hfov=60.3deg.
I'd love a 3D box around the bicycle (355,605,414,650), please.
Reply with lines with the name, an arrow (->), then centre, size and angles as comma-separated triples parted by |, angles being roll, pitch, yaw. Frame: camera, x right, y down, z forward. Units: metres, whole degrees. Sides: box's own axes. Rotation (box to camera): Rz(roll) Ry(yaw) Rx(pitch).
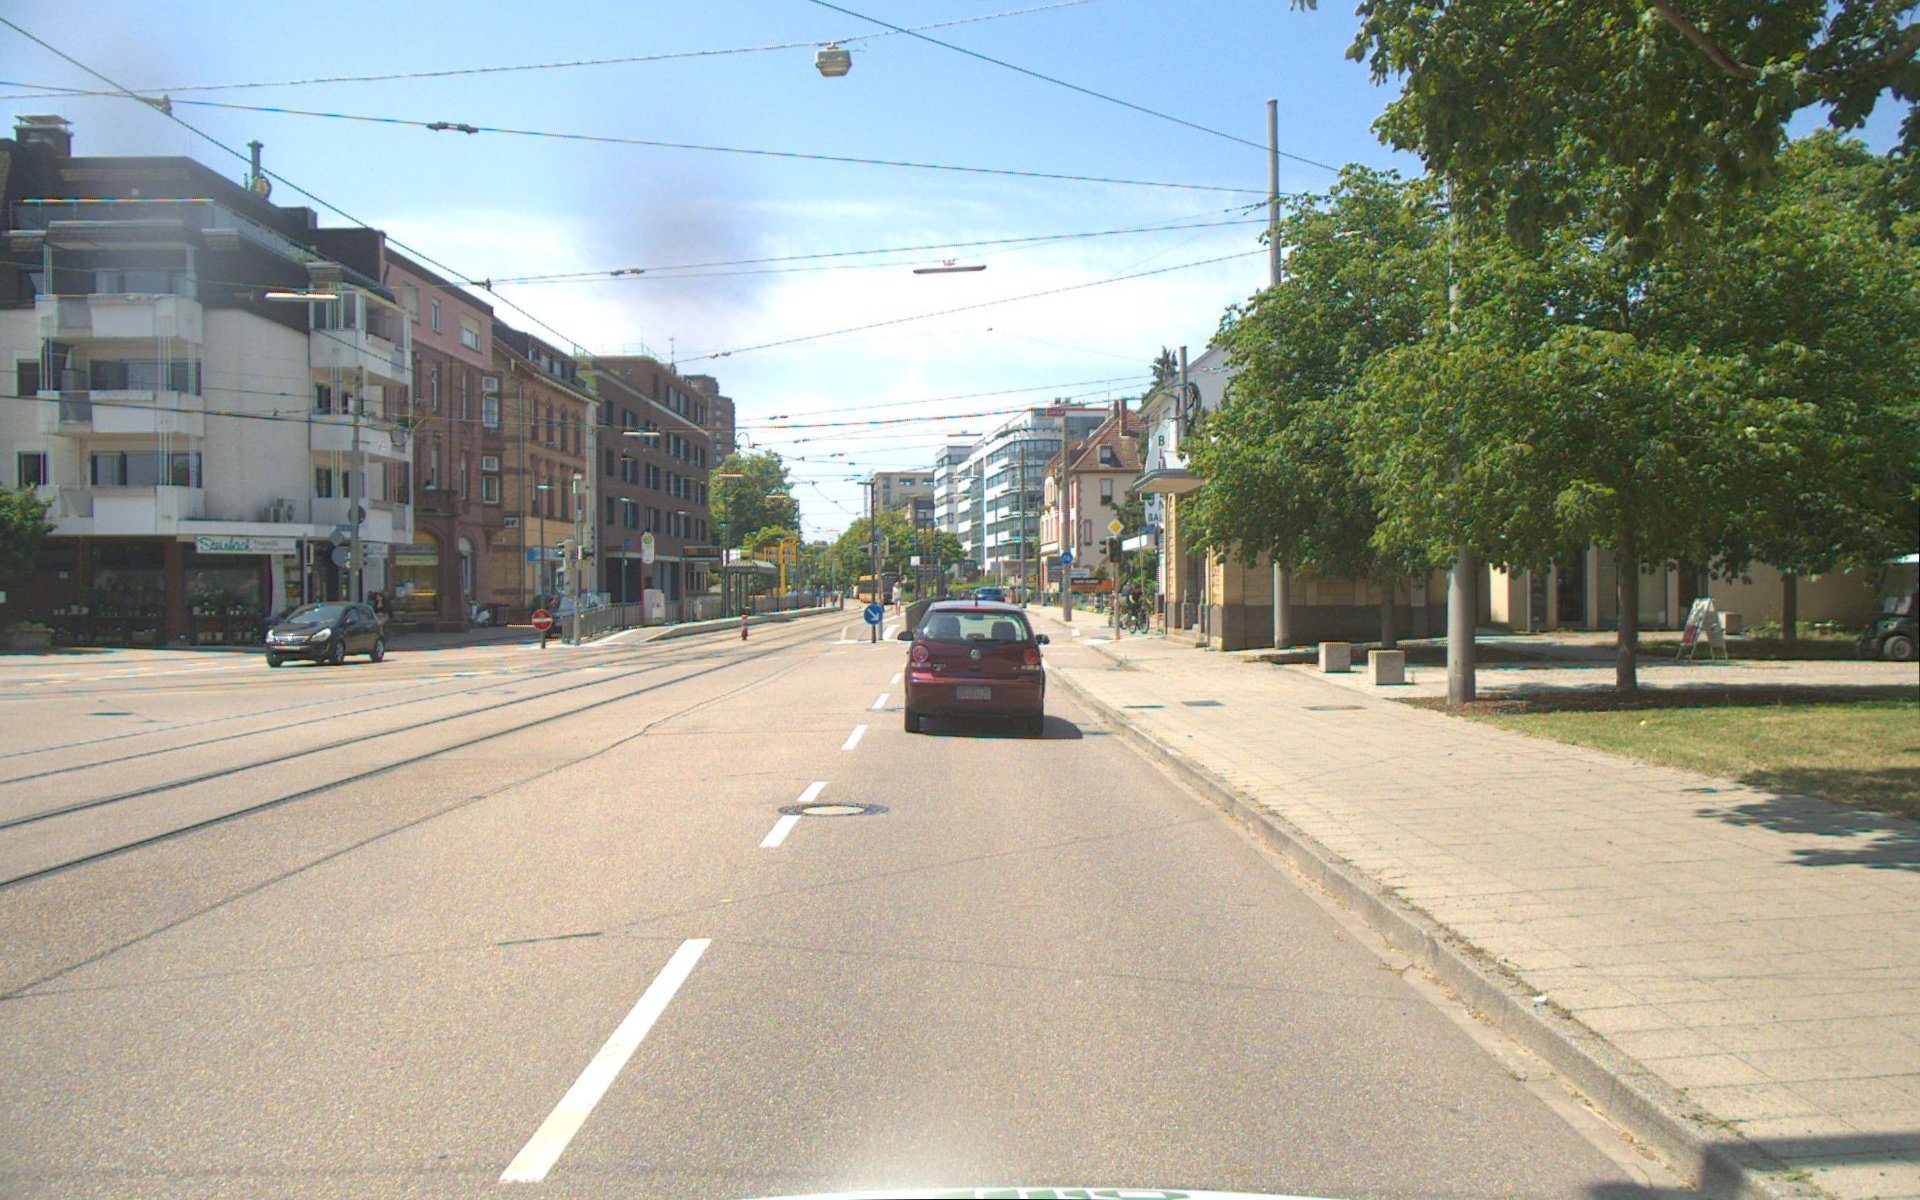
bicycle -> -17.940, 0.857, 51.570 | 0.662, 1.327, 2.107 | -1, 0, 14

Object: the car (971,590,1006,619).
car -> 1.714, 0.250, 100.092 | 1.953, 1.653, 4.631 | -1, 0, 0

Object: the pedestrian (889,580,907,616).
pedestrian -> -2.938, -0.112, 78.477 | 0.747, 1.704, 1.101 | -1, 0, 2

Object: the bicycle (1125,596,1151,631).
bicycle -> 5.878, 0.431, 54.691 | 0.654, 1.020, 1.864 | -4, 2, 1

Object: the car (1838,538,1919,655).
car -> 17.899, -0.078, 29.867 | 3.263, 2.049, 1.464 | -1, -1, 1

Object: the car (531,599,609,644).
car -> -15.115, 0.813, 64.258 | 1.756, 1.607, 4.496 | -1, 1, 2

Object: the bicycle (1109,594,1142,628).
bicycle -> 6.086, 0.394, 60.686 | 0.368, 1.218, 1.900 | -1, 1, 32

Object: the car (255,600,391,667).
car -> -15.320, 0.773, 39.992 | 1.674, 1.464, 3.866 | -1, 0, 2

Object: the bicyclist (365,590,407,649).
bicyclist -> -17.927, 0.608, 51.689 | 0.716, 1.793, 1.136 | -1, 0, 14

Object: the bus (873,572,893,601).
bus -> -8.508, -1.488, 183.762 | 2.102, 3.055, 6.571 | -1, 0, -2

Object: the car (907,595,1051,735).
car -> 0.205, 0.705, 19.464 | 1.529, 1.479, 3.061 | -1, 0, 0

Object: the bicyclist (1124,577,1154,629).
bicyclist -> 5.915, 0.102, 54.741 | 0.815, 1.646, 0.860 | -4, 2, 1

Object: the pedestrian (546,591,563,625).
pedestrian -> -19.306, 0.396, 78.760 | 0.602, 1.588, 0.640 | -1, 0, 0

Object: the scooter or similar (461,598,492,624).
scooter or similar -> -21.048, 0.478, 71.969 | 0.477, 1.101, 1.578 | -1, 1, 17

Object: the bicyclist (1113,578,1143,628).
bicyclist -> 6.176, 0.116, 60.836 | 0.715, 1.791, 0.921 | -1, 1, 35

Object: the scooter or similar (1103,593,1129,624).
scooter or similar -> 6.025, 0.317, 63.945 | 0.334, 1.198, 1.457 | -1, 0, -23
